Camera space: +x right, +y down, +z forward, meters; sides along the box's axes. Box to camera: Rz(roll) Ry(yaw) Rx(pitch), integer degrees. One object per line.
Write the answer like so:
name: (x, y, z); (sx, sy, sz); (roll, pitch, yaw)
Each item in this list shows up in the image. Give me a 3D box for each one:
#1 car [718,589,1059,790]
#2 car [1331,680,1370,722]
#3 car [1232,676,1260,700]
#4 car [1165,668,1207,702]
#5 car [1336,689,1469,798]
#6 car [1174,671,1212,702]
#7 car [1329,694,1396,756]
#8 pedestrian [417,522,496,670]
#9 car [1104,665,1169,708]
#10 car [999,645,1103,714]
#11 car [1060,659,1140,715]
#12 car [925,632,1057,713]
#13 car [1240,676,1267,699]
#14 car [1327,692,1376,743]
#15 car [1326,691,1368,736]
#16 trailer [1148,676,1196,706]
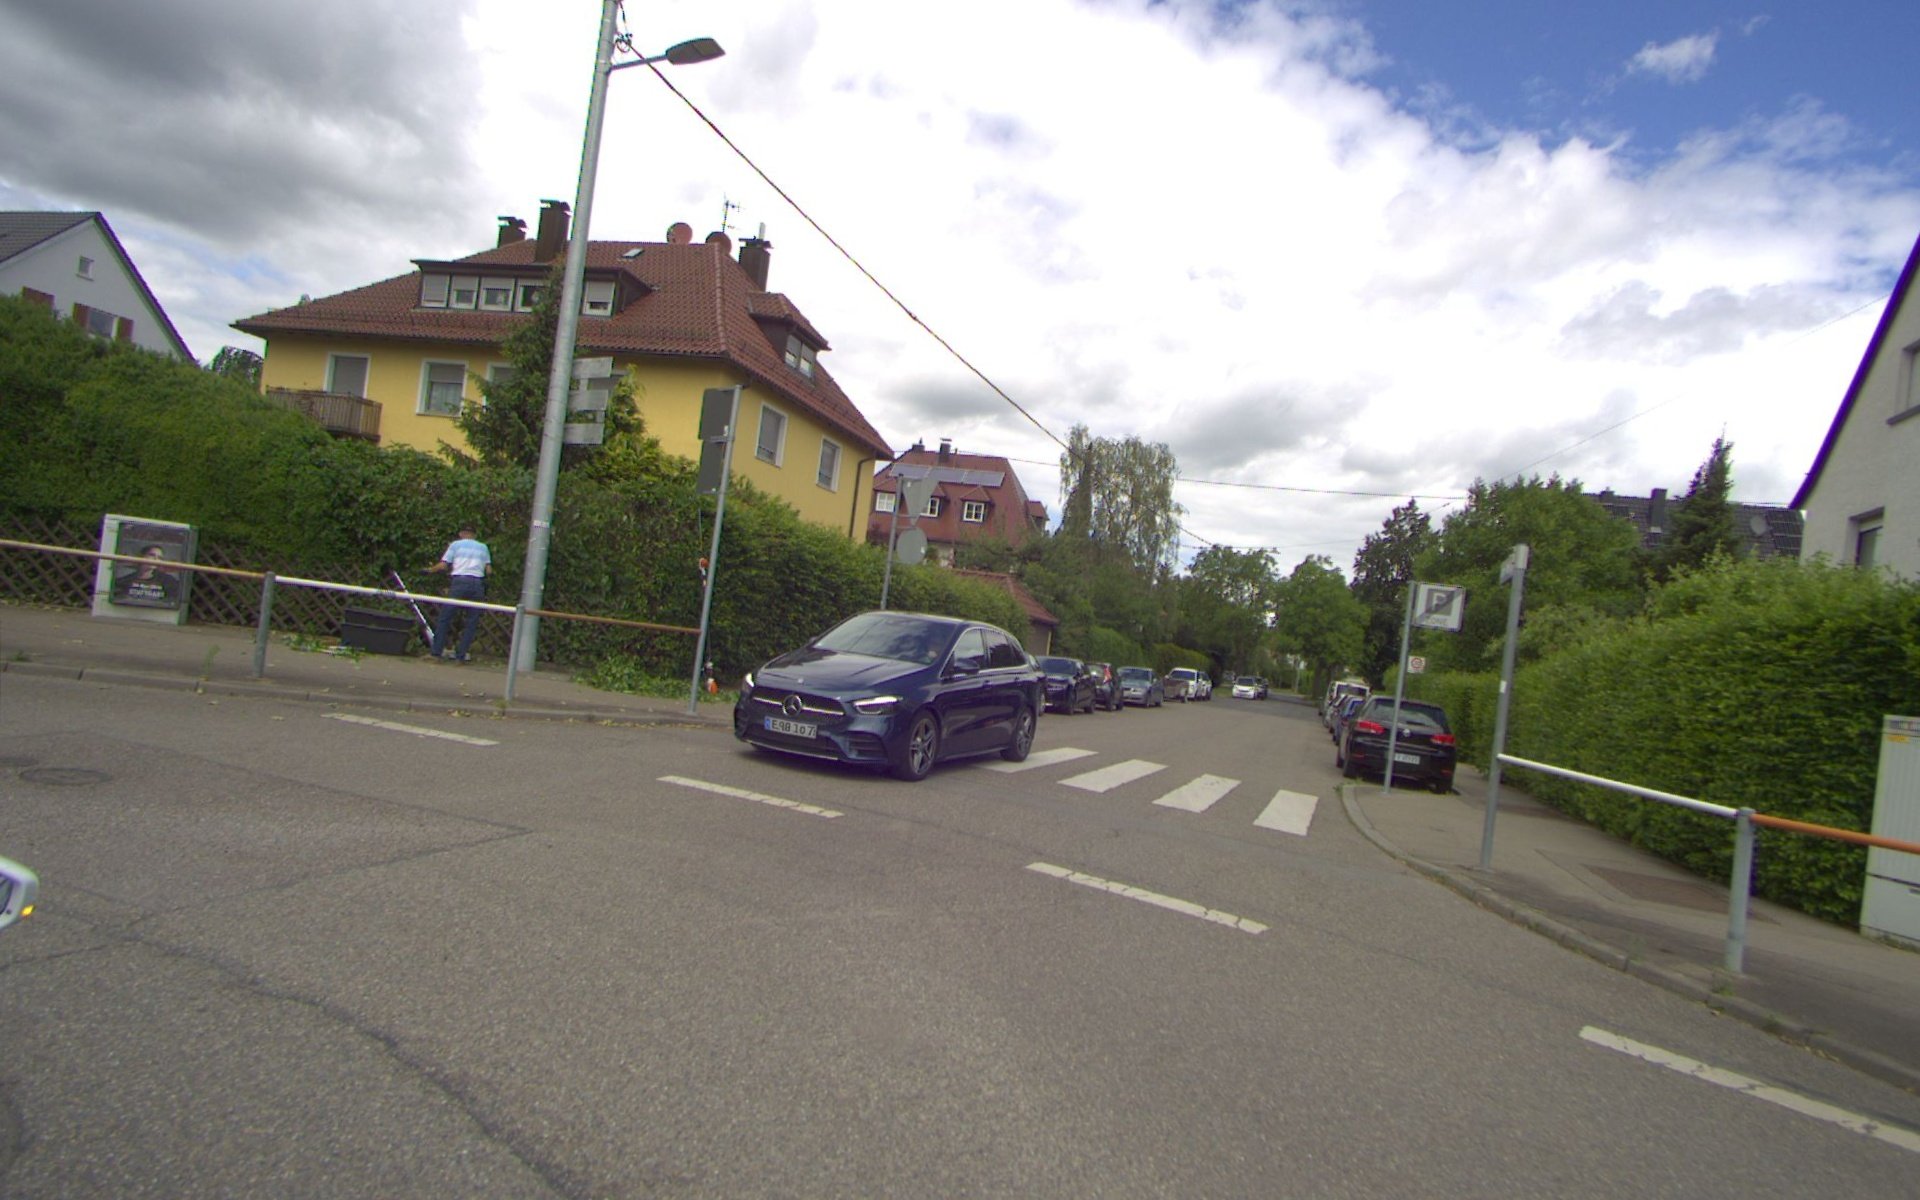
car: (-0.464, 0.908, 10.490); (1.555, 1.465, 4.321); (8, -1, 24)
car: (18.816, 4.843, 48.573); (1.514, 1.706, 3.431); (8, -1, 21)
car: (20.012, 6.126, 70.255); (1.522, 1.502, 3.566); (4, -2, 21)
car: (11.660, 4.339, 51.725); (1.522, 1.502, 3.566); (4, -2, 21)
car: (7.767, 2.472, 17.952); (1.677, 1.470, 3.621); (8, -3, 19)
car: (12.923, 4.781, 55.728); (1.522, 1.502, 3.566); (4, -2, 21)
car: (11.592, 3.553, 29.097); (1.541, 1.383, 3.441); (8, -1, 21)
pedestrian: (-6.073, -0.045, 12.141); (0.646, 1.676, 0.590); (8, 0, -27)
car: (6.578, 3.168, 37.175); (1.571, 1.355, 3.915); (4, -2, 21)
car: (2.408, 2.000, 25.685); (1.522, 1.420, 3.856); (8, -1, 21)
car: (4.470, 2.695, 31.609); (1.522, 1.420, 3.856); (8, -1, 21)
car: (0.752, 1.586, 21.297); (1.522, 1.363, 3.790); (8, -3, 21)
car: (21.594, 6.394, 74.006); (1.522, 1.502, 3.566); (4, -2, 21)
car: (13.494, 4.022, 34.771); (1.309, 1.436, 3.213); (8, -1, 21)
car: (15.146, 4.427, 39.456); (1.309, 1.436, 3.338); (8, -1, 21)
trailer: (9.790, 4.150, 46.290); (1.589, 1.139, 3.725); (4, -2, 21)
